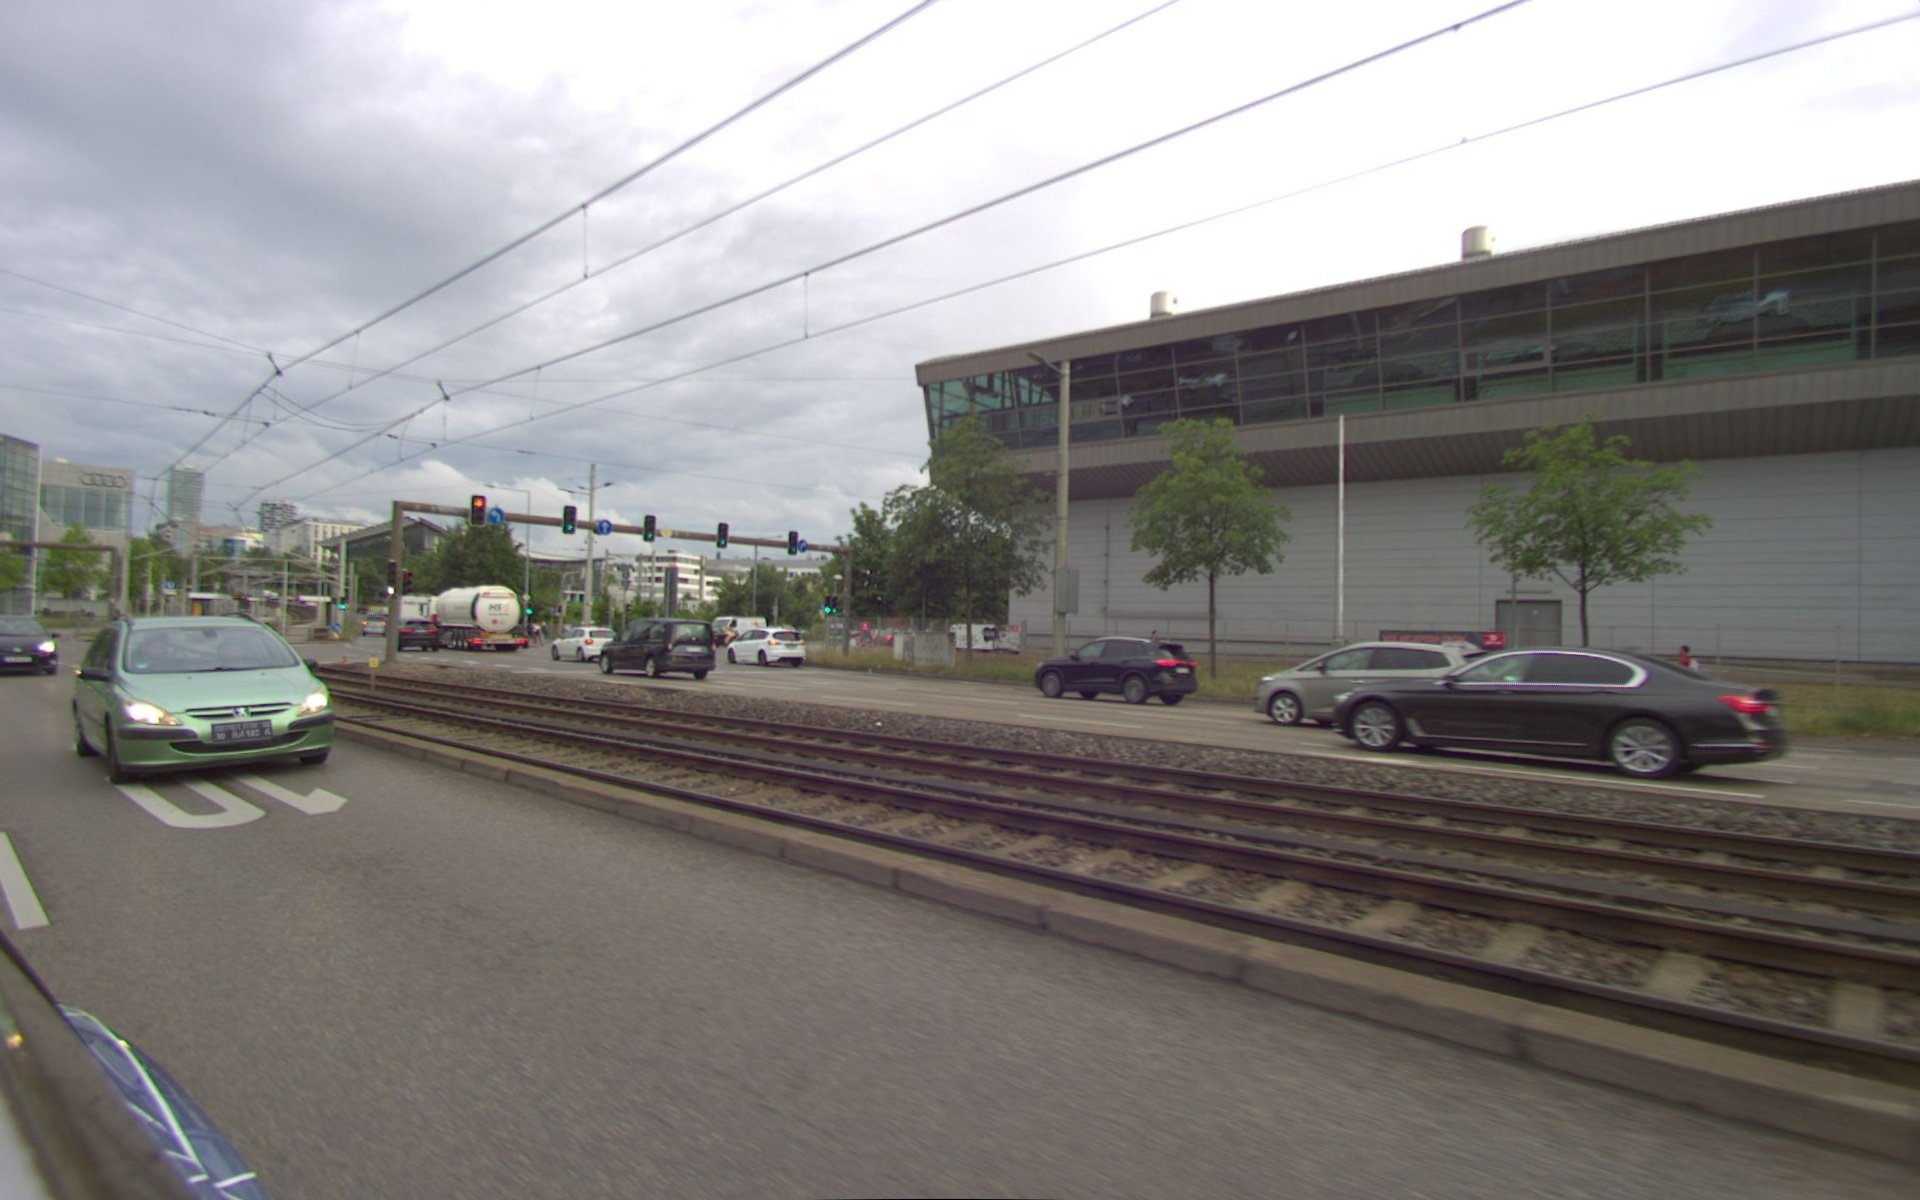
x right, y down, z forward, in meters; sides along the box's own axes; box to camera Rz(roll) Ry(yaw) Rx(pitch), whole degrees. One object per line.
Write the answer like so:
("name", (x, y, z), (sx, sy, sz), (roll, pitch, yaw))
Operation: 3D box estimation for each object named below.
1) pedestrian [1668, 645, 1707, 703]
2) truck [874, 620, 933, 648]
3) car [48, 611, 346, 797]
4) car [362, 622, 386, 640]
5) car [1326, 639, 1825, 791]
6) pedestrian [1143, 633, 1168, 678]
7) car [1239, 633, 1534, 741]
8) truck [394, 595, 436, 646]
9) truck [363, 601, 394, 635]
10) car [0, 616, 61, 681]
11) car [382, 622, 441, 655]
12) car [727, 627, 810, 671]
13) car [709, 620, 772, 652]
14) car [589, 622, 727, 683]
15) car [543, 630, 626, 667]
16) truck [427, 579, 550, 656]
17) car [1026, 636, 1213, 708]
("pedestrian", (19.570, 1.976, 27.210), (0.542, 1.509, 0.759), (0, -1, -45))
("truck", (-4.179, 2.535, 75.271), (3.965, 2.029, 1.989), (0, -3, 17))
("car", (-7.956, 0.889, 10.405), (4.137, 1.509, 1.739), (-1, 0, 43))
("car", (-54.821, 2.914, 94.721), (1.786, 1.586, 4.012), (2, -3, -29))
("car", (7.398, 1.261, 12.666), (1.924, 1.496, 5.000), (3, -4, -42))
("pedestrian", (7.035, 1.978, 36.409), (0.627, 1.575, 0.675), (-1, -1, 43))
("car", (7.539, 1.472, 18.223), (1.917, 1.684, 4.511), (4, -4, -44))
("truck", (-51.862, 2.019, 96.384), (3.213, 4.564, 7.114), (2, -3, -27))
("truck", (-75.613, 2.354, 131.560), (3.330, 4.171, 7.652), (3, -3, -30))
("car", (-24.336, 1.196, 25.718), (3.711, 1.556, 1.740), (-1, 0, 40))
("car", (-27.753, 1.960, 51.126), (1.793, 1.586, 4.006), (3, -4, -40))
("car", (-8.438, 2.148, 44.450), (1.788, 1.839, 3.876), (4, -4, -42))
("car", (-17.208, 2.856, 79.426), (1.992, 2.350, 5.013), (-1, -3, 29))
("car", (-9.332, 1.594, 31.093), (4.679, 1.745, 1.971), (-2, -4, 44))
("car", (-15.777, 2.019, 42.438), (3.925, 1.457, 1.774), (-2, -4, 45))
("truck", (-26.057, 1.087, 55.560), (4.025, 3.785, 10.878), (3, -3, -36))
("car", (4.079, 1.811, 26.274), (4.475, 1.696, 1.971), (-2, -4, 44))
